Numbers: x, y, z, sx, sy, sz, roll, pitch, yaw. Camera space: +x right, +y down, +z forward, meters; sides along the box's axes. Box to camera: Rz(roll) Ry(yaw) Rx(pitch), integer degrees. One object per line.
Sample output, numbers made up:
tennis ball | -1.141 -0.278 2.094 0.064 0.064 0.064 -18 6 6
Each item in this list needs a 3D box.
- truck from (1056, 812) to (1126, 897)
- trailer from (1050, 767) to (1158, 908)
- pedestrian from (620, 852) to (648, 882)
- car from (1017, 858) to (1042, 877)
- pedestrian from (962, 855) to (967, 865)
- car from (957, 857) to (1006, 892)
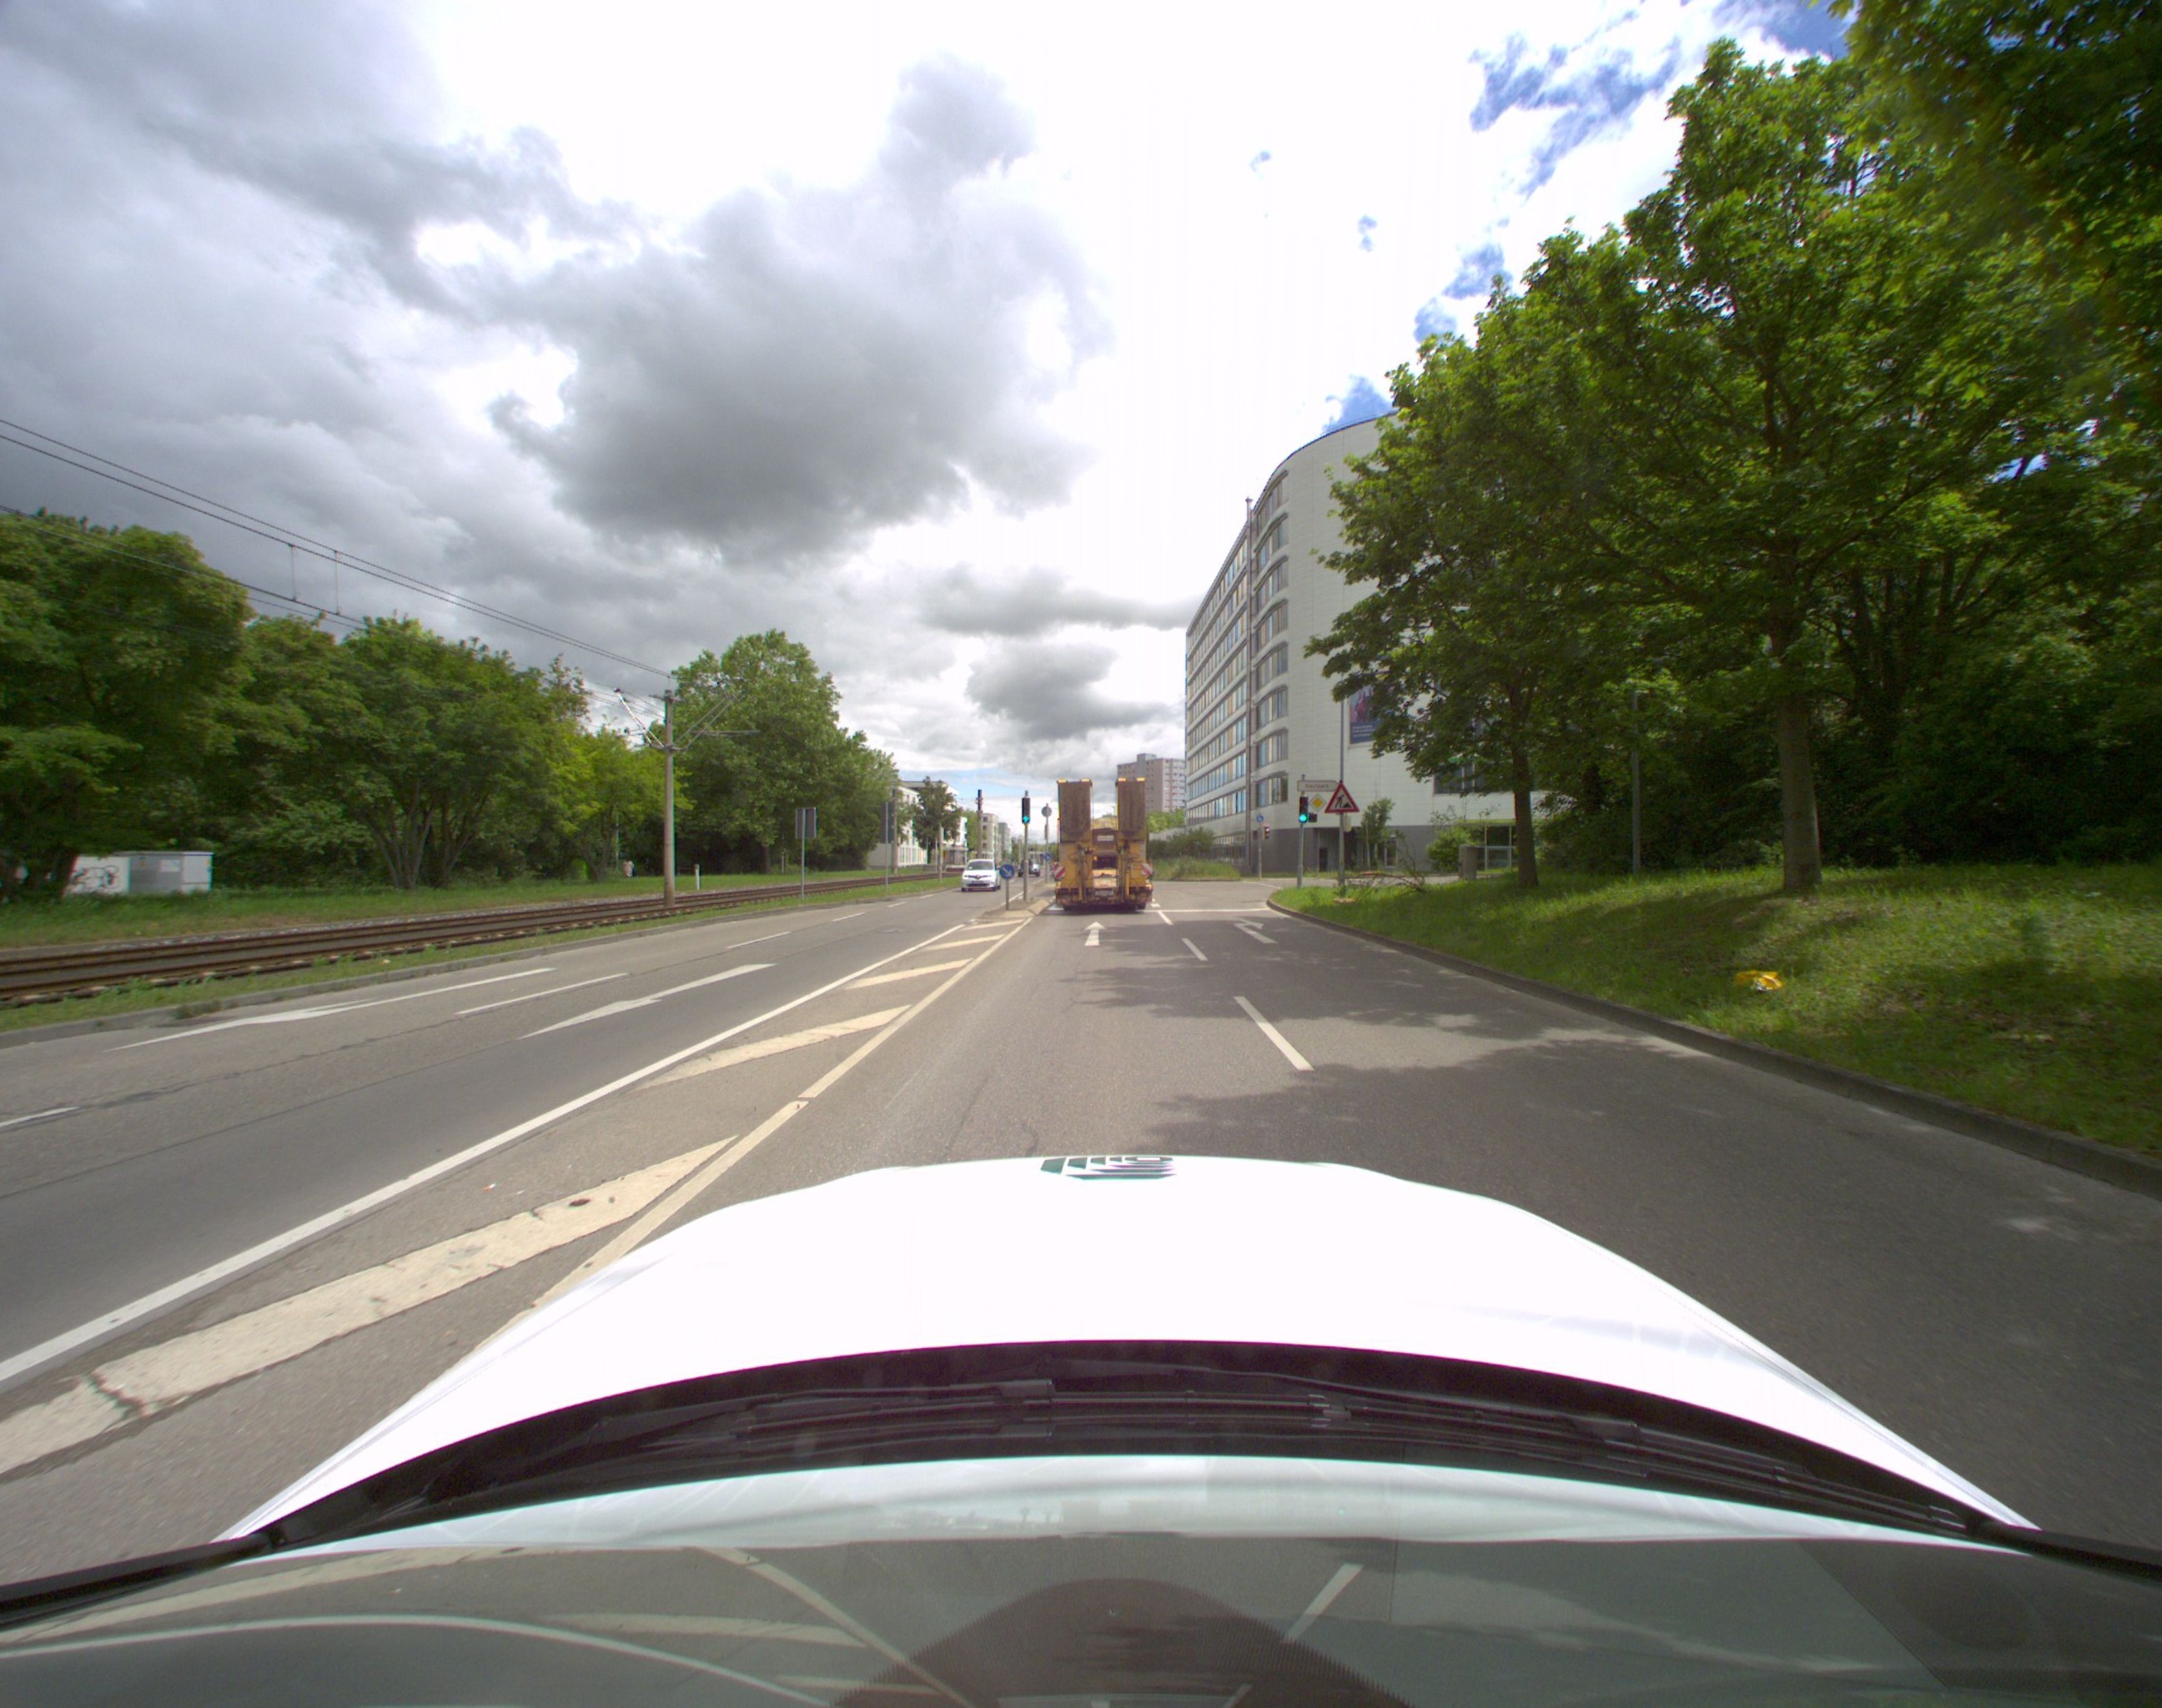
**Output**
truck | 0.393 0.096 36.041 2.745 3.313 8.349 0 -1 0
trailer | 0.510 -0.324 26.260 2.721 3.559 11.248 0 -1 -1
pedestrian | -29.352 0.861 53.456 1.030 1.934 1.363 0 -1 1
car | -4.691 1.204 74.651 1.853 1.610 4.610 0 0 2
pedestrian | -19.354 0.980 134.889 0.738 1.531 0.547 0 -1 3
car | -4.779 0.973 39.758 1.722 1.612 4.265 0 -1 2
